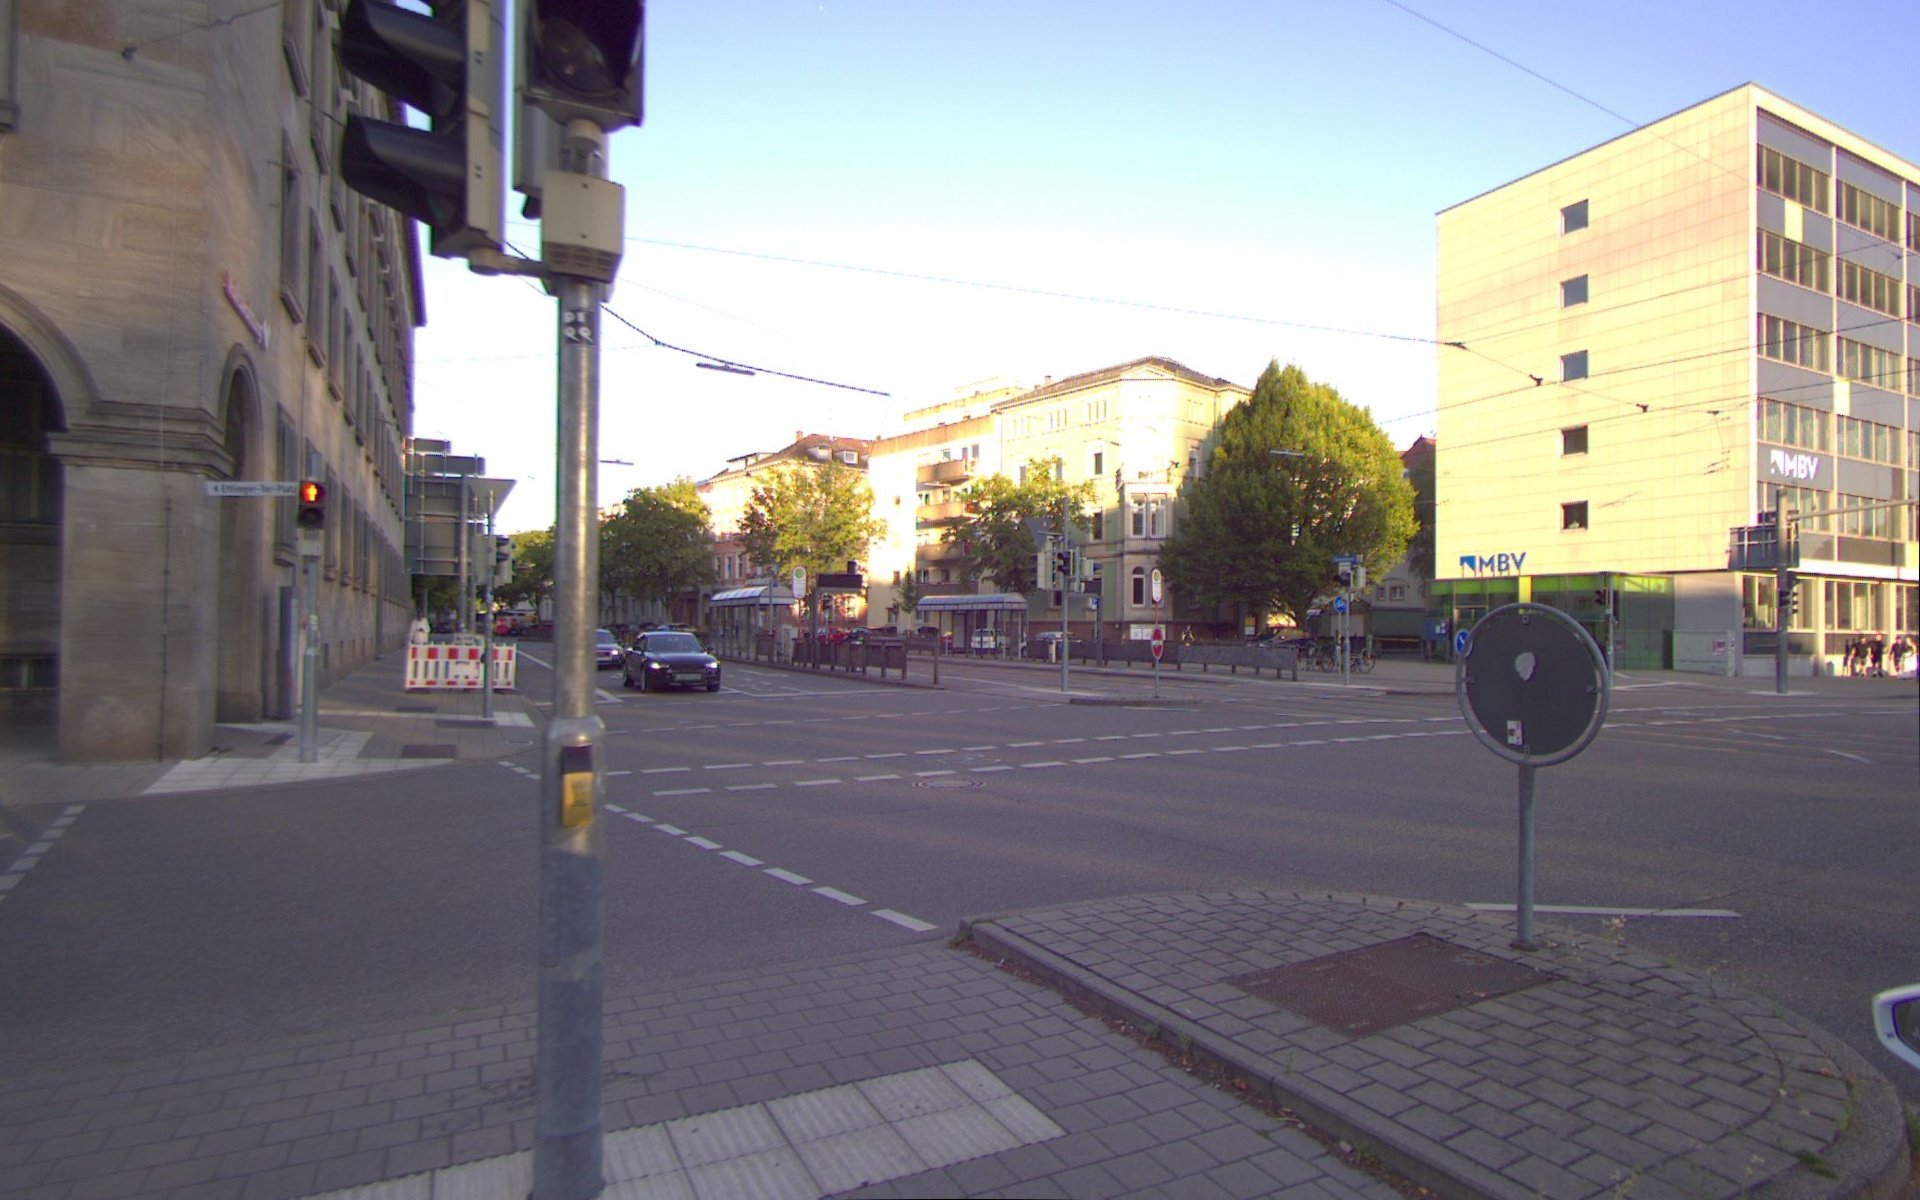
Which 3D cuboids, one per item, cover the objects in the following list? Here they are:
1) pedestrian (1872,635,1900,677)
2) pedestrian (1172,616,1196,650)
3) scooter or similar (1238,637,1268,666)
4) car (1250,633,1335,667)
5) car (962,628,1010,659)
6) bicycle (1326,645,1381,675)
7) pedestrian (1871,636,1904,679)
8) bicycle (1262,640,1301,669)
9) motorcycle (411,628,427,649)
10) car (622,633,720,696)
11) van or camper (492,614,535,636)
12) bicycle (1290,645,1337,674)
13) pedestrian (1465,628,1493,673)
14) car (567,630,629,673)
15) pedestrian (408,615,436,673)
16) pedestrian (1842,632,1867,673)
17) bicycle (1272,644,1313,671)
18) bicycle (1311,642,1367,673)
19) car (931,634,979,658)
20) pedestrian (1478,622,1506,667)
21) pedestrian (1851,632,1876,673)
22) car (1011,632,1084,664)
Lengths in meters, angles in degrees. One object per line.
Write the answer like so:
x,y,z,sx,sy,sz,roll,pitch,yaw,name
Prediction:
39.764,2.385,43.129,0.665,1.791,0.735,2,-2,-31,pedestrian
11.648,1.717,52.259,0.703,1.791,0.977,2,-2,-42,pedestrian
12.764,2.238,43.742,1.188,1.241,0.587,-1,-1,-27,scooter or similar
16.433,2.469,49.679,3.947,1.594,1.791,2,-2,-28,car
1.633,2.619,60.614,1.688,1.747,4.212,2,-2,18,car
14.939,2.276,38.181,1.832,1.089,0.743,0,-1,-10,bicycle
39.042,2.413,42.267,0.777,1.791,0.836,2,-2,-31,pedestrian
13.673,2.312,42.684,1.511,1.178,0.739,2,-2,-26,bicycle
-29.252,2.066,54.335,0.691,1.089,2.635,1,-2,-27,motorcycle
-7.441,1.588,25.613,1.627,1.446,4.203,2,-2,-27,car
-58.220,3.231,131.163,2.045,2.564,5.551,-2,0,15,van or camper
14.027,2.360,39.870,1.737,1.089,0.739,2,-2,-26,bicycle
20.997,2.046,40.643,0.699,1.791,0.730,1,-2,-27,pedestrian
-13.300,1.854,36.756,1.627,1.446,3.944,2,-2,-27,car
-16.453,1.341,30.734,0.688,1.732,0.642,1,-2,-25,pedestrian
38.692,2.266,43.444,0.639,1.791,0.650,2,-2,-31,pedestrian
13.580,2.336,41.038,1.535,1.089,0.739,2,-2,-26,bicycle
14.802,2.238,39.265,2.208,1.147,0.739,0,-1,-26,bicycle
-0.269,2.846,62.412,1.613,1.473,4.211,0,-2,20,car
21.685,1.805,40.967,0.699,1.791,0.742,1,-2,-27,pedestrian
39.376,2.288,43.780,0.639,1.791,0.650,2,-2,-31,pedestrian
4.680,2.589,54.412,1.670,1.573,3.957,-2,0,-38,car
